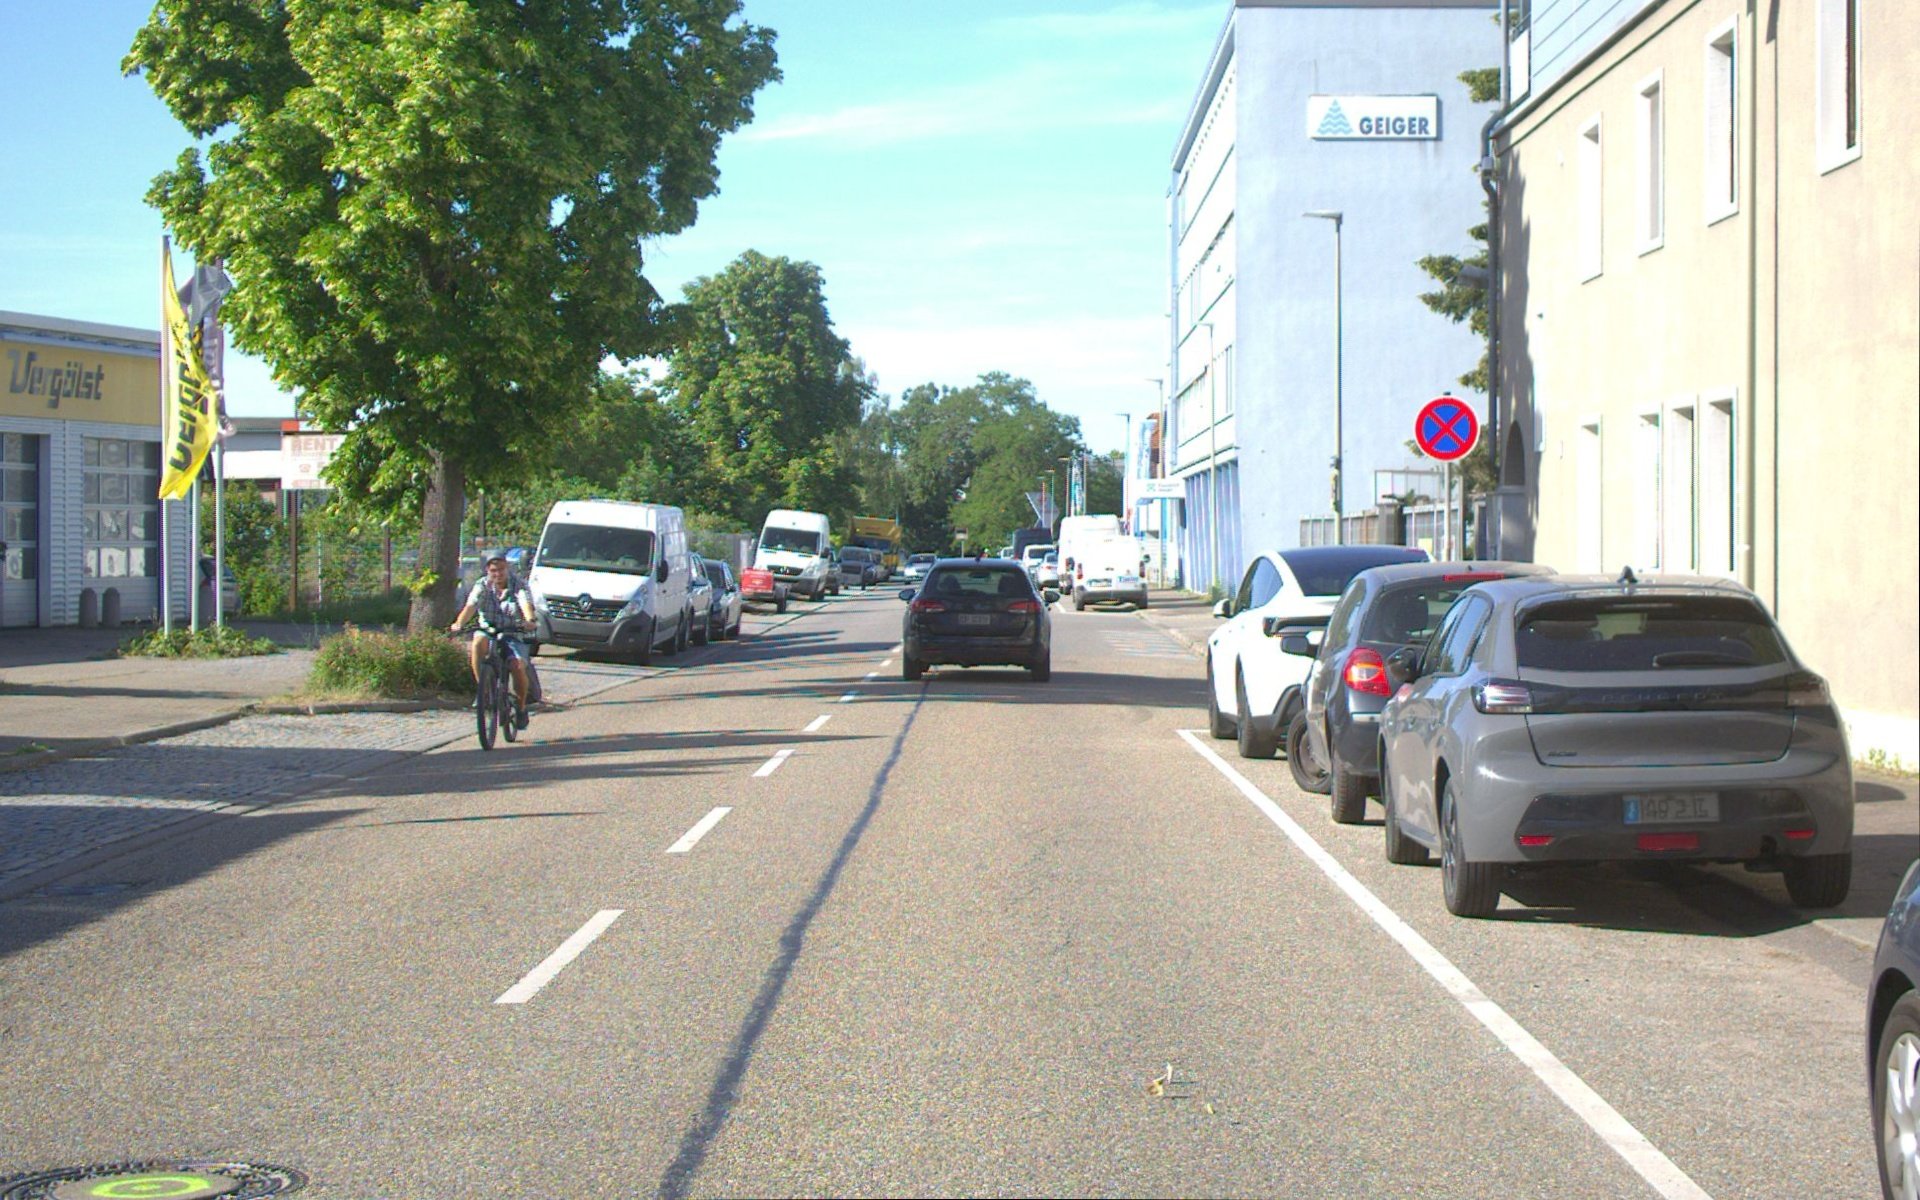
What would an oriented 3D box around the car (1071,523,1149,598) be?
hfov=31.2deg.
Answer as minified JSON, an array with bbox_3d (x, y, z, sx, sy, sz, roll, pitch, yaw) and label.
[{"bbox_3d":[3.750,-1.009,86.687,1.889,1.826,5.090,0,1,2],"label":"car"}]

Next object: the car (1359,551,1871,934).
[{"bbox_3d":[2.904,0.554,16.029,1.659,1.500,4.032,-1,1,1],"label":"car"}]

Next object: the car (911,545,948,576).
[{"bbox_3d":[-1.447,-1.914,165.284,1.747,1.442,4.361,0,1,0],"label":"car"}]

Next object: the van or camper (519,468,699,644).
[{"bbox_3d":[-5.560,-0.743,55.206,2.070,2.540,6.404,3,1,0],"label":"van or camper"}]

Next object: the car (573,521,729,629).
[{"bbox_3d":[-5.410,-0.474,60.763,1.994,1.732,4.574,3,1,3],"label":"car"}]

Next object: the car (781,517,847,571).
[{"bbox_3d":[-4.959,-1.932,117.240,2.030,1.688,5.107,3,1,-1],"label":"car"}]

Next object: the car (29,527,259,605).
[{"bbox_3d":[-16.706,-0.700,70.480,4.160,1.568,1.915,0,1,11],"label":"car"}]

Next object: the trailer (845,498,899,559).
[{"bbox_3d":[-5.023,-4.073,197.536,2.991,3.431,8.162,0,1,-1],"label":"trailer"}]

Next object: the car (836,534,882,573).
[{"bbox_3d":[-4.599,-2.146,156.879,1.792,1.725,4.802,-1,1,2],"label":"car"}]

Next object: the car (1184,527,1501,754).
[{"bbox_3d":[2.991,0.250,27.851,1.931,1.639,4.770,-1,1,-1],"label":"car"}]

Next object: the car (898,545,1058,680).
[{"bbox_3d":[0.240,0.114,41.957,1.847,1.525,4.000,-1,1,1],"label":"car"}]

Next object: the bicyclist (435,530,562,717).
[{"bbox_3d":[-3.915,0.191,29.241,0.839,1.537,1.136,-1,0,3],"label":"bicyclist"}]

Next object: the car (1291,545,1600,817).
[{"bbox_3d":[2.909,0.420,21.268,1.599,1.468,4.189,-1,1,4],"label":"car"}]

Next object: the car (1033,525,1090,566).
[{"bbox_3d":[3.642,-1.949,124.088,1.894,1.400,5.124,1,1,0],"label":"car"}]

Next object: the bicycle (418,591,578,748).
[{"bbox_3d":[-3.900,0.564,29.256,0.839,1.235,2.604,-1,0,3],"label":"bicycle"}]

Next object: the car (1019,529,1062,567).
[{"bbox_3d":[3.924,-2.543,168.434,1.885,1.791,5.104,1,1,-1],"label":"car"}]

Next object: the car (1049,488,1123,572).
[{"bbox_3d":[4.091,-2.328,112.701,1.993,2.589,6.052,-2,2,-1],"label":"car"}]

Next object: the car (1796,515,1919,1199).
[{"bbox_3d":[2.876,0.669,6.037,1.681,1.608,4.205,1,1,-1],"label":"car"}]

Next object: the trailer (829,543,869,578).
[{"bbox_3d":[-4.473,-1.589,138.472,1.476,1.349,3.079,1,1,0],"label":"trailer"}]

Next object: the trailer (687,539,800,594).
[{"bbox_3d":[-5.328,-0.854,85.362,2.376,1.076,6.246,3,2,0],"label":"trailer"}]

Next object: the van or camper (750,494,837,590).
[{"bbox_3d":[-5.002,-1.779,104.053,1.966,2.676,5.947,5,1,2],"label":"van or camper"}]
